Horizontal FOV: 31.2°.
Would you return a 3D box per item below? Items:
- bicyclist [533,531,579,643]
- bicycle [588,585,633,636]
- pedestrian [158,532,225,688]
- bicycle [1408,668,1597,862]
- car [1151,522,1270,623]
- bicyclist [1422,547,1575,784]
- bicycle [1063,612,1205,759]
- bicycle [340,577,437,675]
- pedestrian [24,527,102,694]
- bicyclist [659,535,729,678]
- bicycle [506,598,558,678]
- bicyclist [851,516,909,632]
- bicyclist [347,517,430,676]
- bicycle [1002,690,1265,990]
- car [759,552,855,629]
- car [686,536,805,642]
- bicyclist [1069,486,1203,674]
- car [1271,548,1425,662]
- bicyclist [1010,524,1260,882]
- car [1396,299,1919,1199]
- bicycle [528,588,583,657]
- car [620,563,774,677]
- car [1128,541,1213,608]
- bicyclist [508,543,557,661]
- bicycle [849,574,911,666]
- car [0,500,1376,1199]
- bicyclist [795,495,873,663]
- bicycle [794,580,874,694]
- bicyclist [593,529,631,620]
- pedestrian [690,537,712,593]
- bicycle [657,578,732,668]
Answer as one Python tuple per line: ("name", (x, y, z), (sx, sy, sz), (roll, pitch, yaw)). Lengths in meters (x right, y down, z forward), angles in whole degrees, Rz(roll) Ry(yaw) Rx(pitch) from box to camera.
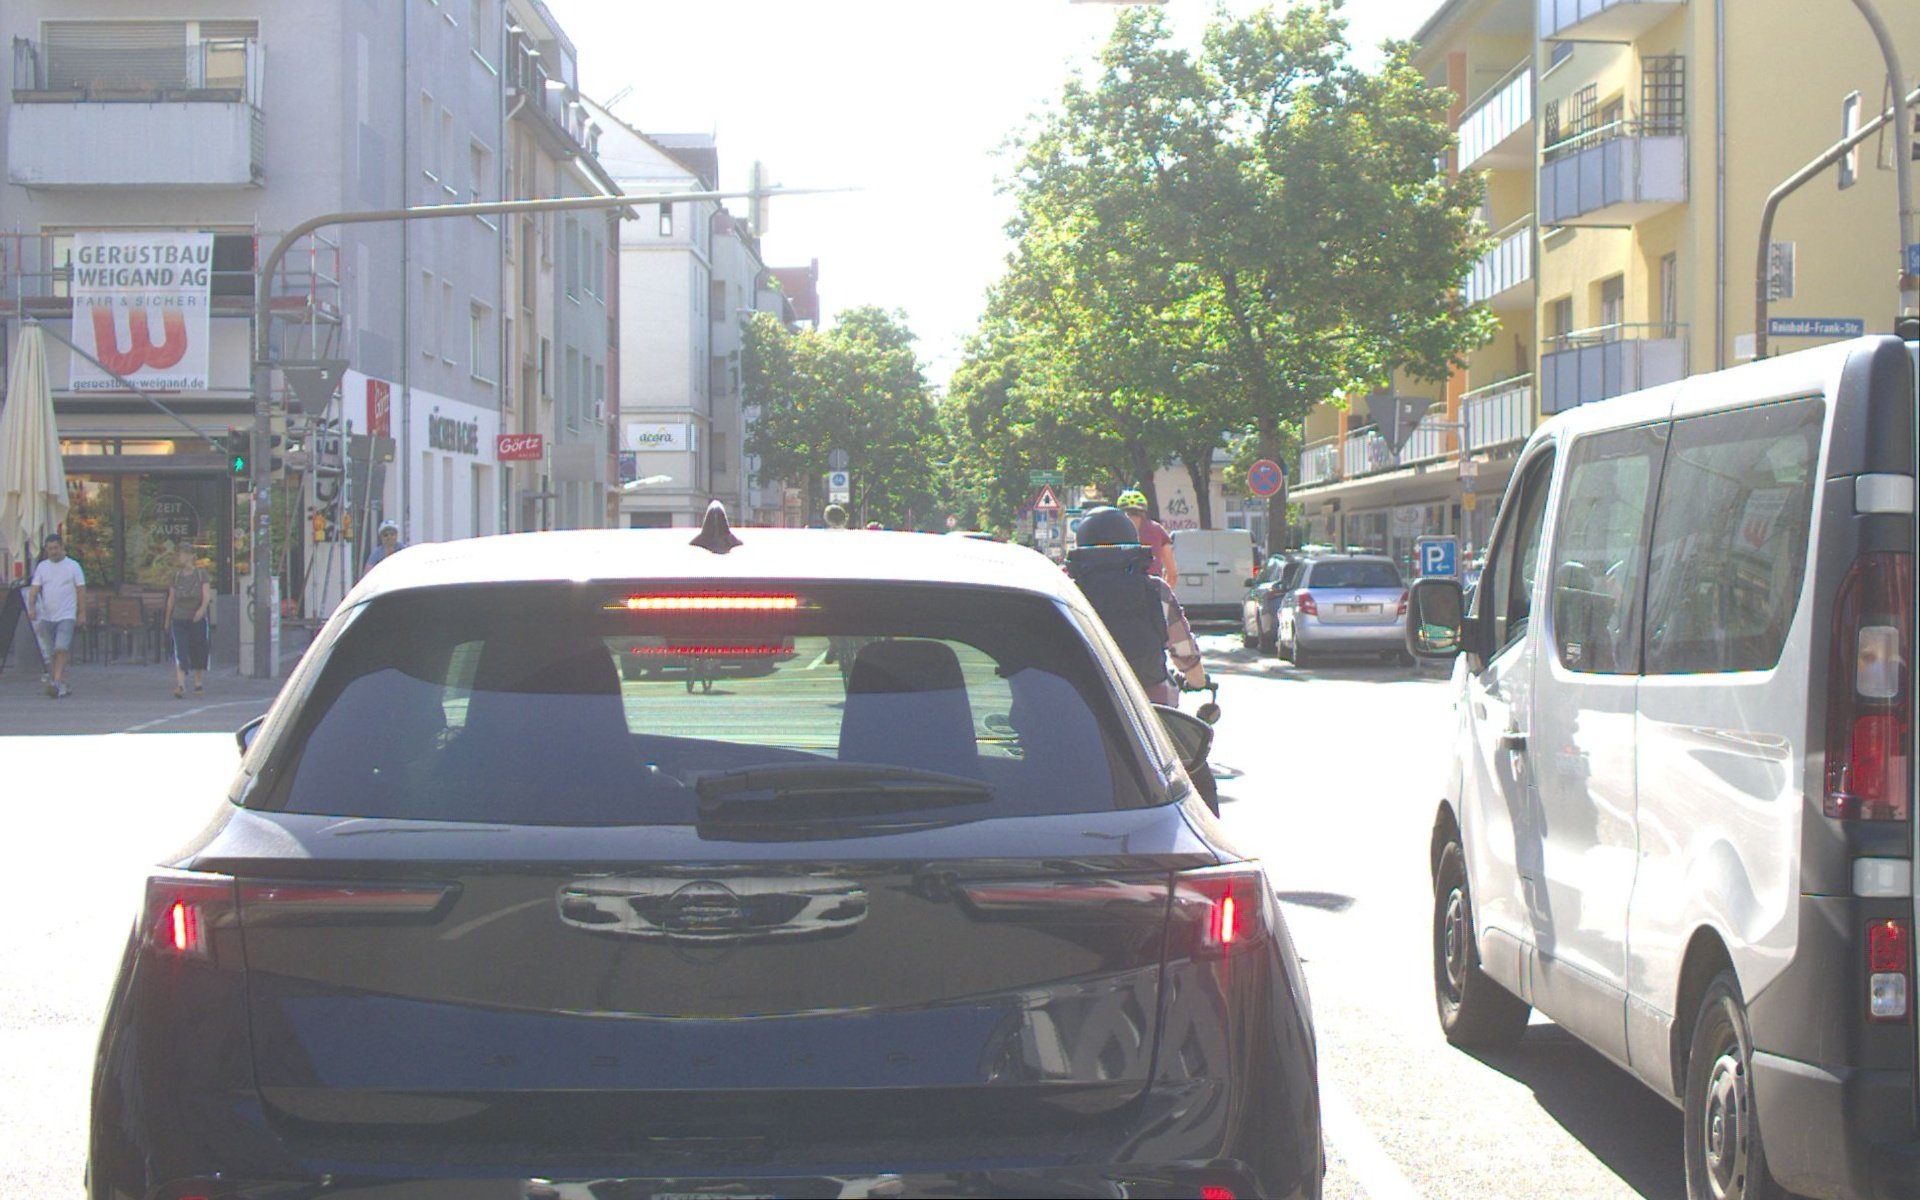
("bicyclist", (-5.535, -0.186, 47.109), (0.542, 1.515, 0.774), (0, 1, 0))
("bicycle", (-5.963, 0.174, 58.708), (0.553, 0.831, 2.131), (1, 1, -1))
("pedestrian", (-7.811, 0.094, 34.939), (0.531, 1.576, 0.563), (0, 1, 3))
("bicycle", (2.749, 0.818, 17.578), (0.691, 0.863, 1.876), (0, 1, 1))
("car", (4.705, -0.542, 65.014), (2.046, 1.840, 4.584), (0, 1, 2))
("bicyclist", (2.753, 0.327, 17.614), (0.692, 1.189, 0.595), (0, 1, 1))
("bicycle", (1.250, 0.598, 25.095), (0.856, 0.941, 2.307), (2, 1, -1))
("bicycle", (-5.937, 0.255, 35.776), (0.679, 0.949, 1.934), (-1, 1, 0))
("pedestrian", (-9.089, 0.100, 34.852), (0.573, 1.683, 0.669), (0, 1, 5))
("bicyclist", (-2.977, 0.061, 38.539), (0.679, 1.571, 0.899), (-1, 1, 0))
("bicycle", (-5.099, 0.441, 41.003), (0.542, 0.899, 1.826), (0, 1, -5))
("bicyclist", (-1.136, -0.375, 49.033), (0.801, 1.644, 1.125), (0, 1, 1))
("bicyclist", (-5.949, -0.046, 35.837), (0.679, 1.625, 0.899), (-1, 1, 0))
("bicycle", (0.637, 0.892, 13.503), (0.856, 0.941, 2.307), (2, 1, -1))
("car", (-3.038, -0.210, 68.405), (1.804, 1.408, 4.426), (-2, 1, -2))
("car", (-3.292, -0.183, 53.338), (1.592, 1.560, 4.089), (-1, 0, 0))
("bicyclist", (1.279, -0.157, 25.183), (0.856, 1.310, 1.210), (2, 1, -1))
("car", (5.268, 0.036, 47.022), (1.712, 1.478, 3.480), (0, 1, 0))
("bicyclist", (0.664, 0.377, 13.494), (0.856, 1.310, 1.210), (2, 1, -1))
("car", (2.435, 0.441, 8.491), (1.968, 1.933, 5.056), (1, 1, -1))
("bicycle", (-5.535, 0.301, 47.095), (0.542, 0.899, 1.826), (0, 1, 0))
("car", (-3.490, 0.232, 46.222), (1.837, 1.429, 4.177), (0, 1, -1))
("car", (4.764, -0.599, 78.153), (1.712, 1.478, 3.381), (0, 1, 0))
("bicyclist", (-5.103, 0.018, 41.075), (0.542, 1.386, 0.788), (0, 1, -5))
("bicycle", (-1.135, 0.269, 48.938), (0.801, 1.251, 2.139), (0, 1, 1))
("car", (-0.380, 0.629, 6.349), (1.762, 1.553, 4.000), (0, 1, -1))
("bicyclist", (-1.226, -0.205, 33.588), (0.716, 1.614, 0.946), (-1, 0, 0))
("bicycle", (-1.218, 0.345, 33.597), (0.716, 1.060, 1.872), (-1, 1, 0))
("bicyclist", (-5.946, -0.443, 58.701), (0.553, 1.543, 0.814), (1, 1, -1))
("pedestrian", (-7.301, -0.983, 96.905), (0.577, 1.577, 0.708), (0, 1, -6))
("bicycle", (-2.968, 0.244, 38.580), (0.679, 0.949, 1.934), (-1, 1, 0))
